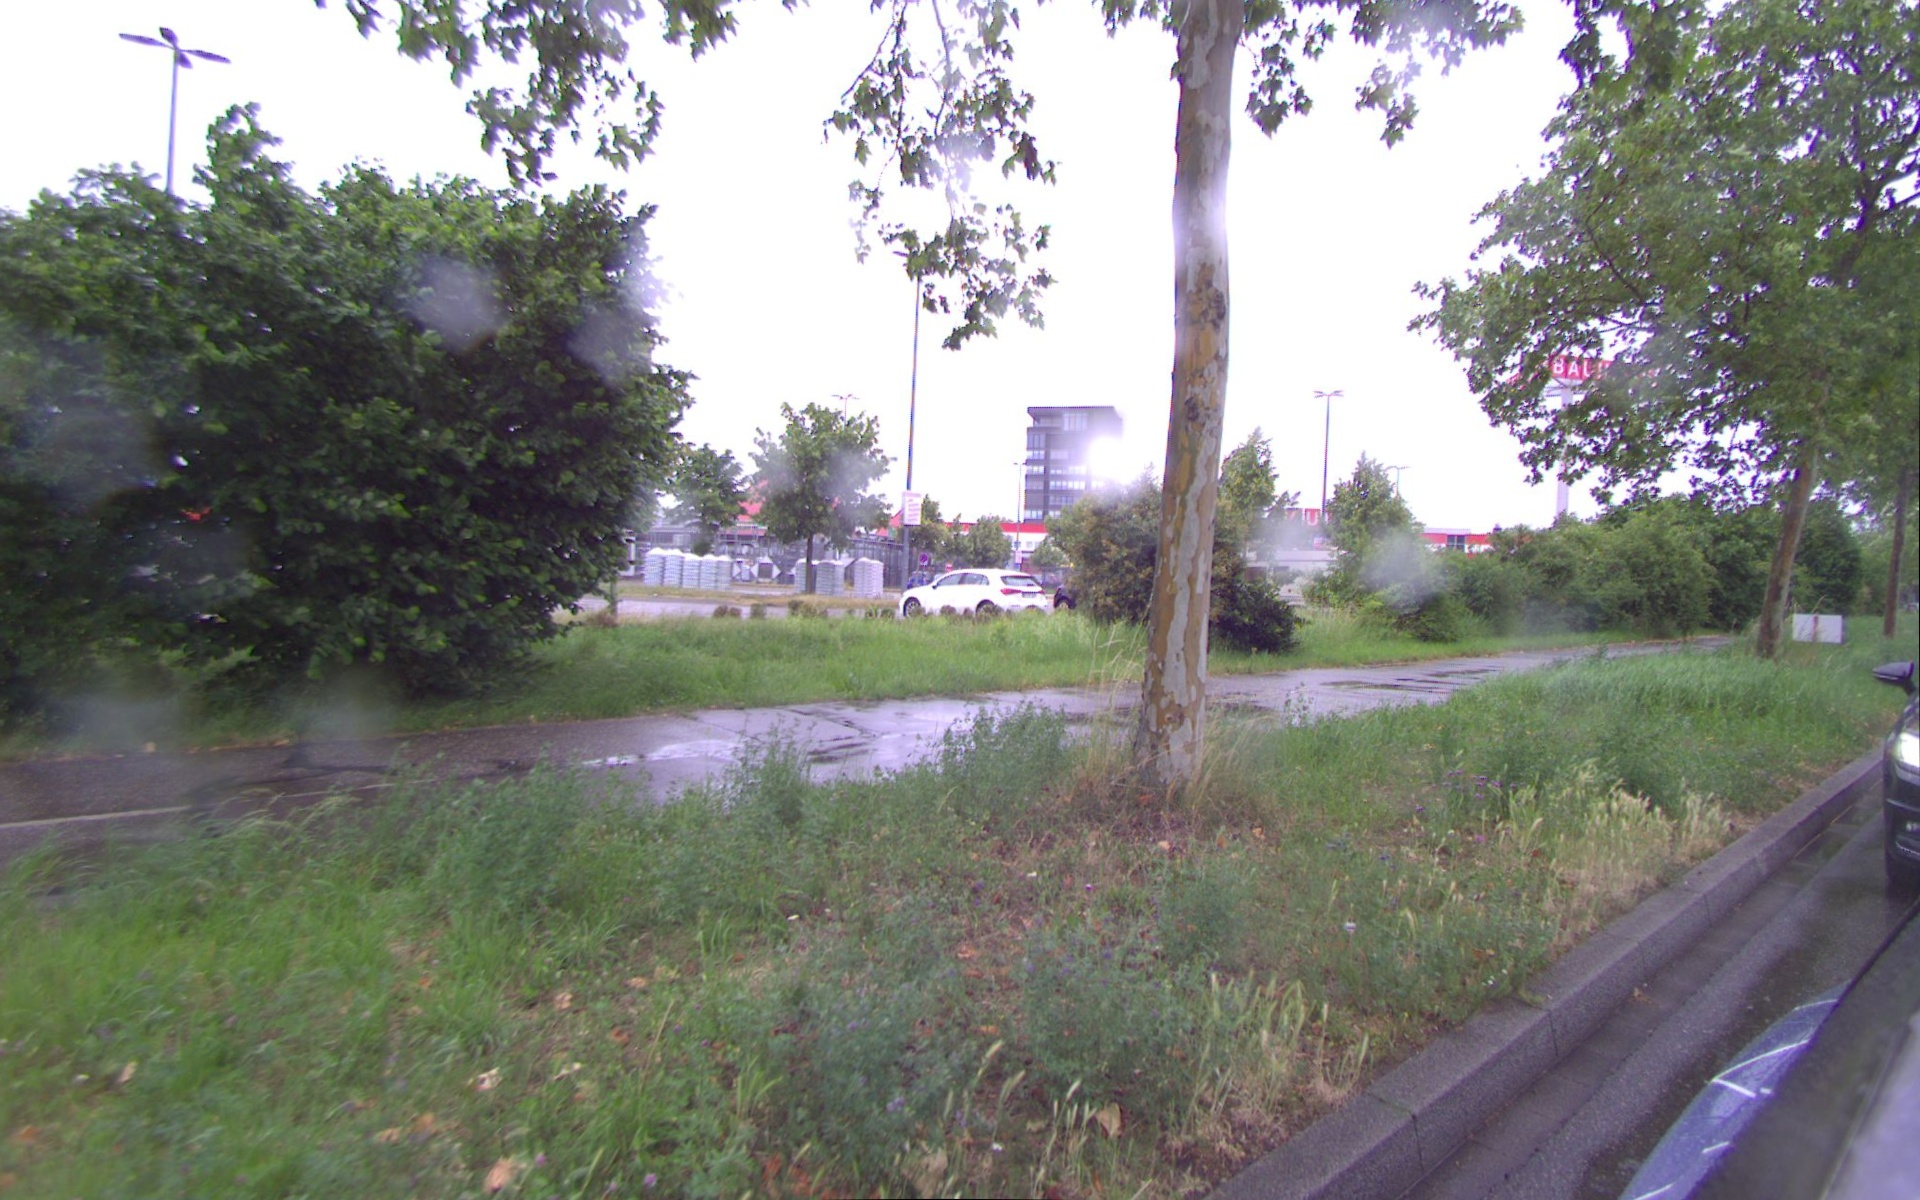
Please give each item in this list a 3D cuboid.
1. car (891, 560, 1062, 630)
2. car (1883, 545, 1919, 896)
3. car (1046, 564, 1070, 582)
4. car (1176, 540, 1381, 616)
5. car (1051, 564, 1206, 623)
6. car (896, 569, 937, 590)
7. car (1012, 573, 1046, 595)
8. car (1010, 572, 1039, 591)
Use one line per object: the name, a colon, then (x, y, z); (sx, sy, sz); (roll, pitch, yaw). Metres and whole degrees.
car: (0.345, -0.182, 26.000); (4.262, 1.571, 1.899); (3, 3, 45)
car: (6.618, 0.544, 5.676); (4.549, 1.625, 1.768); (-1, 0, -43)
car: (9.692, -2.681, 100.038); (1.971, 1.697, 4.260); (2, 2, 11)
car: (11.009, -0.834, 35.343); (6.399, 2.391, 2.357); (3, 2, 41)
car: (4.986, -0.250, 30.355); (4.262, 1.571, 1.899); (3, 3, 45)
car: (-3.369, -1.614, 79.138); (1.905, 1.571, 4.250); (2, 2, 18)
car: (5.521, -1.295, 80.684); (1.903, 1.571, 4.254); (2, 2, 15)
car: (6.084, -1.731, 94.782); (1.973, 1.697, 4.256); (2, 2, 14)
